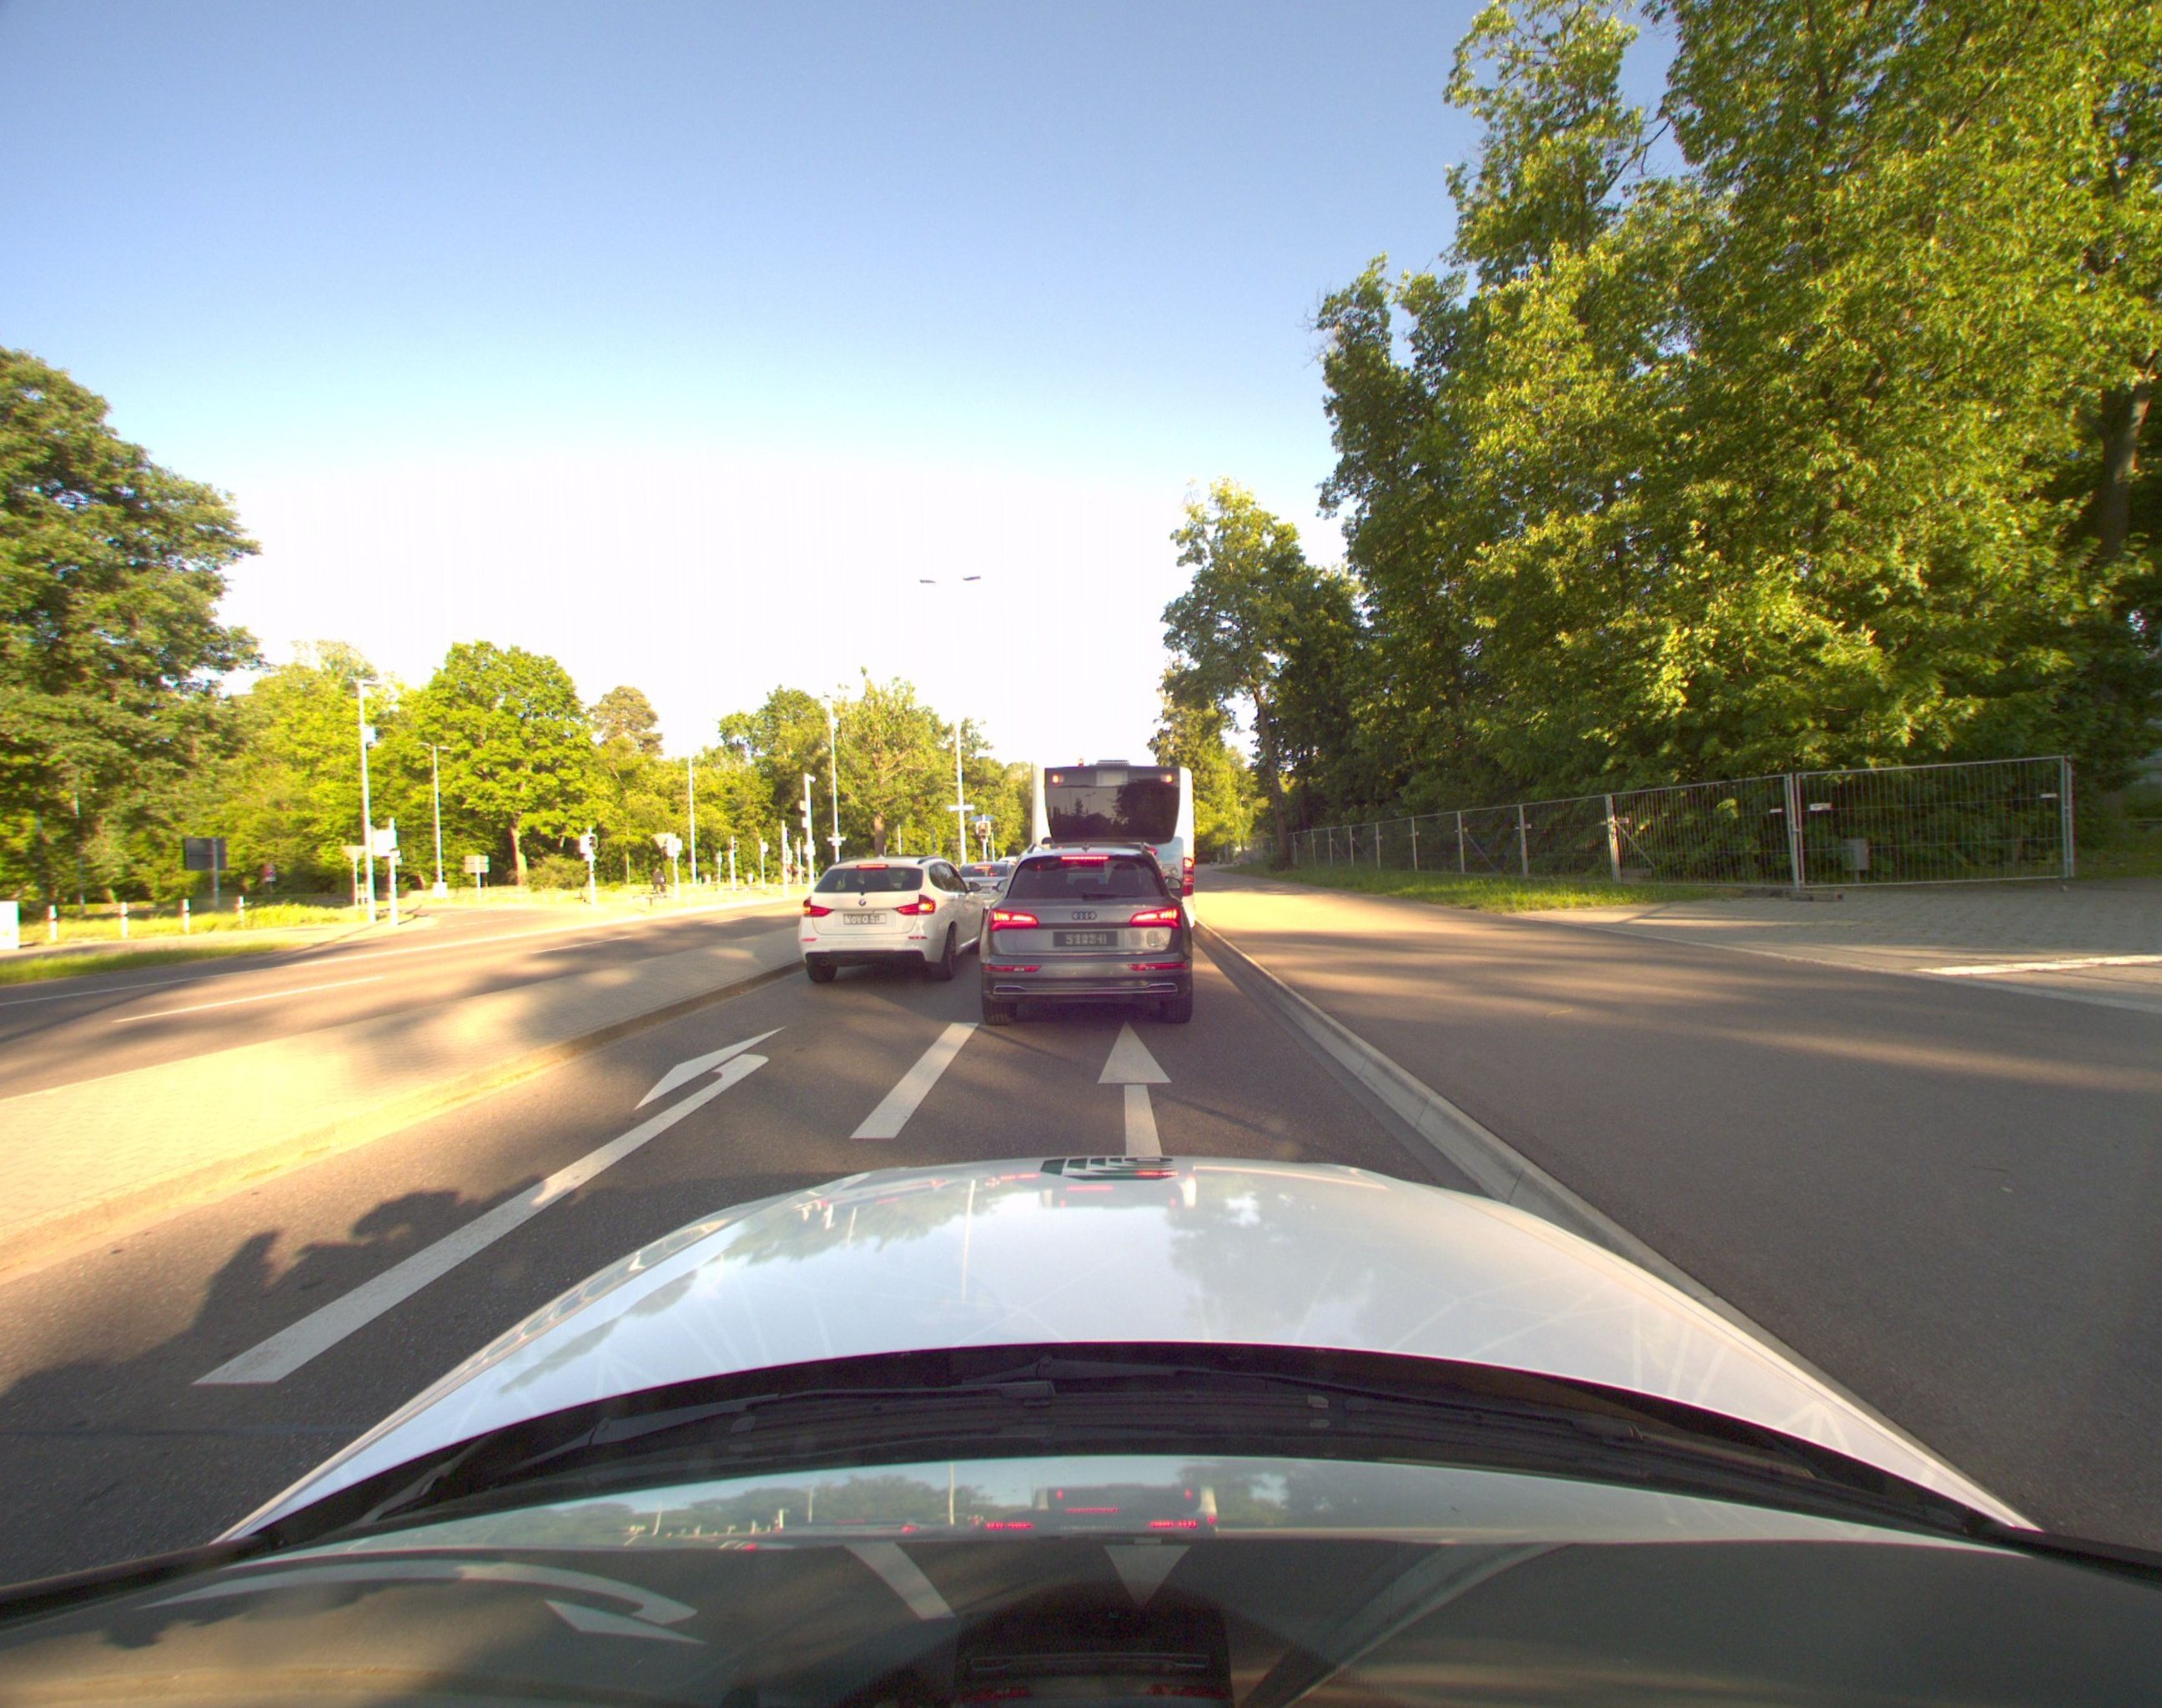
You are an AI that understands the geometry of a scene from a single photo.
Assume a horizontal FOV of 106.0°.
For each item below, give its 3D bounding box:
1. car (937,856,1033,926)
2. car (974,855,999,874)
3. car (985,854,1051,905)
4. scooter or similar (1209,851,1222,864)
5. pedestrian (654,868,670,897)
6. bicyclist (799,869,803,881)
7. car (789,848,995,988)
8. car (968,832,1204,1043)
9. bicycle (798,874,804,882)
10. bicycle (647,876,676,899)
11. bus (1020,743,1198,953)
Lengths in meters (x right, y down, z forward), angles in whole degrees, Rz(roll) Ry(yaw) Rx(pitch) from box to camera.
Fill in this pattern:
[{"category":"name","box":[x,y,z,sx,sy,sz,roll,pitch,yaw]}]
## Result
[{"category":"car","box":[-2.216,0.810,19.879,1.779,1.444,4.278,0,1,0]},{"category":"car","box":[-8.668,0.945,74.989,1.990,1.662,3.995,-3,0,-4]},{"category":"car","box":[-2.050,0.805,27.663,1.801,1.572,4.002,0,1,2]},{"category":"scooter or similar","box":[12.836,0.326,77.857,1.175,1.174,0.661,0,0,13]},{"category":"pedestrian","box":[-22.689,1.533,44.111,0.480,1.562,0.649,0,-1,2]},{"category":"bicyclist","box":[-22.246,1.643,64.694,0.272,0.963,0.240,0,-1,-4]},{"category":"car","box":[-2.375,0.727,11.433,1.712,1.581,4.436,0,0,2]},{"category":"car","box":[0.104,0.642,8.450,1.861,1.663,4.002,0,0,2]},{"category":"bicycle","box":[-22.247,1.891,64.713,0.266,0.581,0.838,0,-1,-4]},{"category":"bicycle","box":[-22.679,1.794,44.064,0.466,1.178,2.005,0,-1,2]},{"category":"bus","box":[0.580,-0.114,15.228,2.667,3.142,5.887,0,0,3]}]
